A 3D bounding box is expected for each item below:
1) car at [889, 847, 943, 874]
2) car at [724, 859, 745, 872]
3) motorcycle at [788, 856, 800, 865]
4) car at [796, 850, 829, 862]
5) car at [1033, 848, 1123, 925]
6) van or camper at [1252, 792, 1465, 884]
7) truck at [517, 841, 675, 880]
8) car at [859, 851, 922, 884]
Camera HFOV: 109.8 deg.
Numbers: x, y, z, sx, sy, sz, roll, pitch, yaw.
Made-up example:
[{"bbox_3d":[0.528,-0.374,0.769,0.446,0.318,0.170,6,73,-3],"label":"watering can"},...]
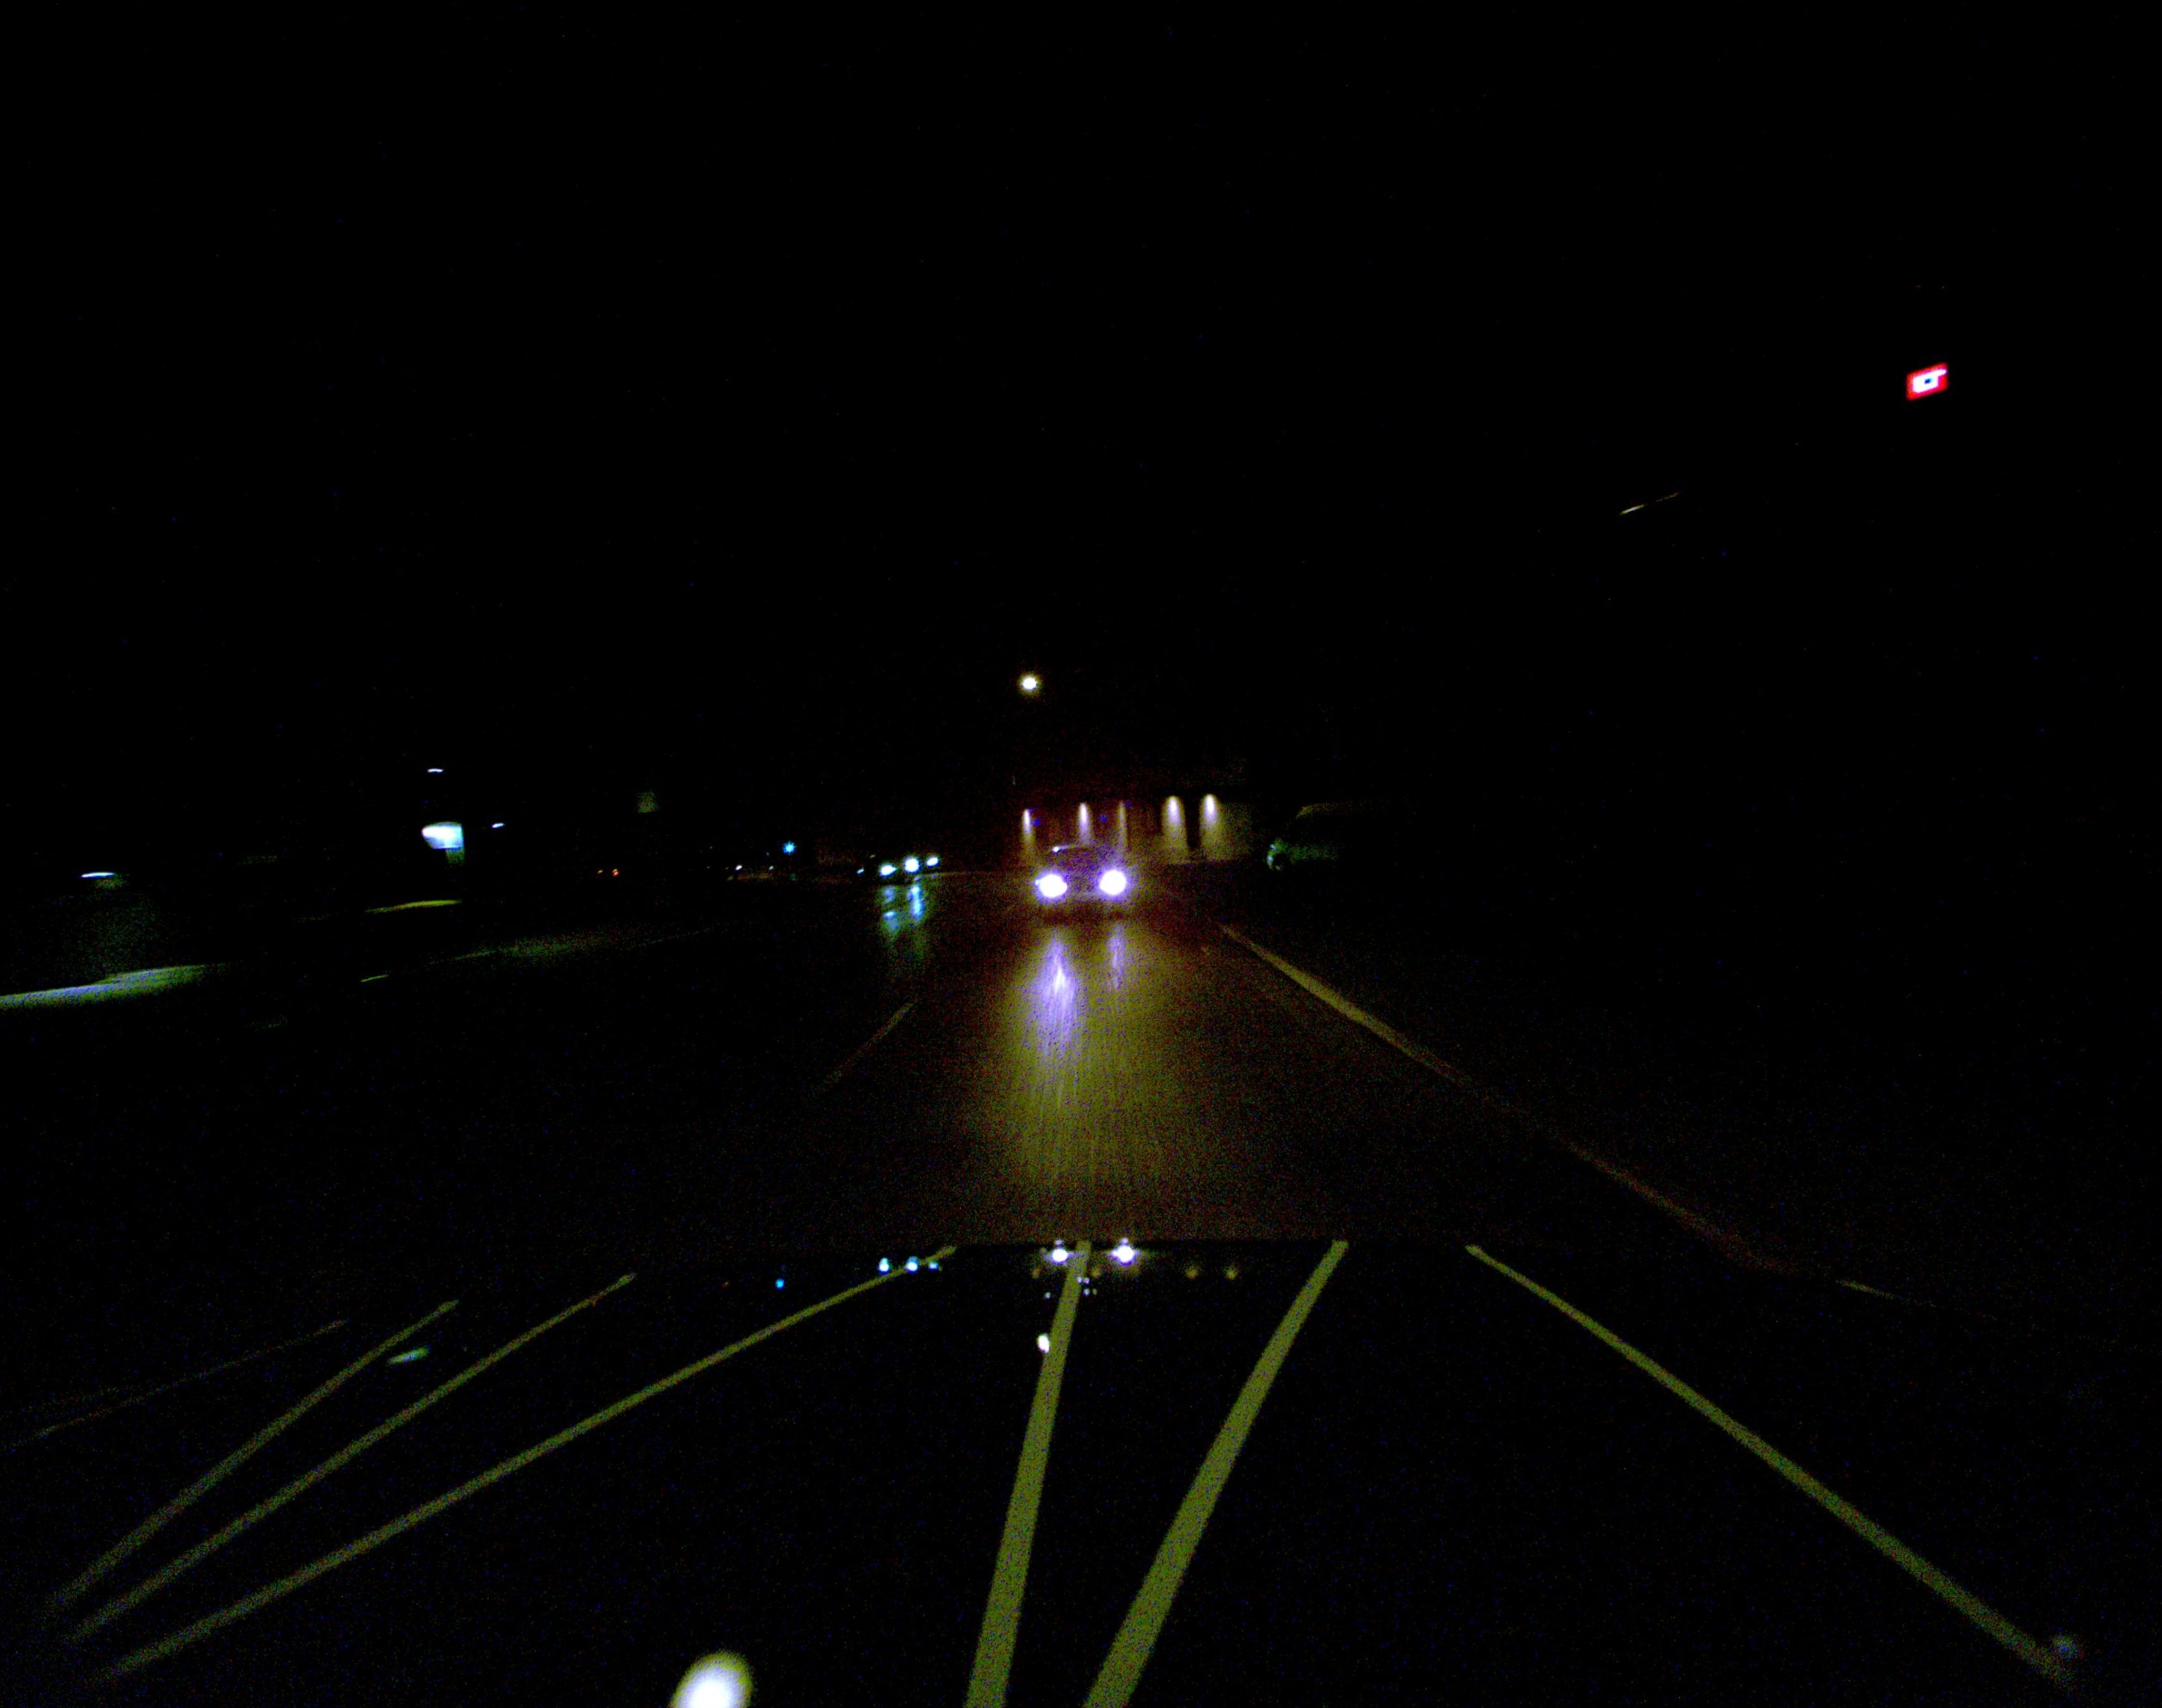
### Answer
[{"bbox_3d":[-9.923,0.340,45.549,1.732,1.455,3.989,-4,3,-33],"label":"car"},{"bbox_3d":[-37.721,1.200,82.631,1.622,1.259,3.618,-6,3,-29],"label":"car"},{"bbox_3d":[-40.884,0.883,108.338,2.026,1.173,0.574,-2,2,40],"label":"motorcycle"},{"bbox_3d":[-43.921,0.296,124.303,4.682,1.620,1.998,-4,3,-34],"label":"car"},{"bbox_3d":[-0.176,0.621,16.808,1.635,1.430,3.837,-2,1,-5],"label":"car"},{"bbox_3d":[8.474,-0.461,23.930,2.169,2.521,6.211,-2,1,-33],"label":"van or camper"},{"bbox_3d":[-62.730,0.665,98.987,16.857,3.962,3.124,-4,3,-33],"label":"truck"},{"bbox_3d":[-9.899,0.669,39.352,1.732,1.422,4.487,-6,3,-32],"label":"car"}]
